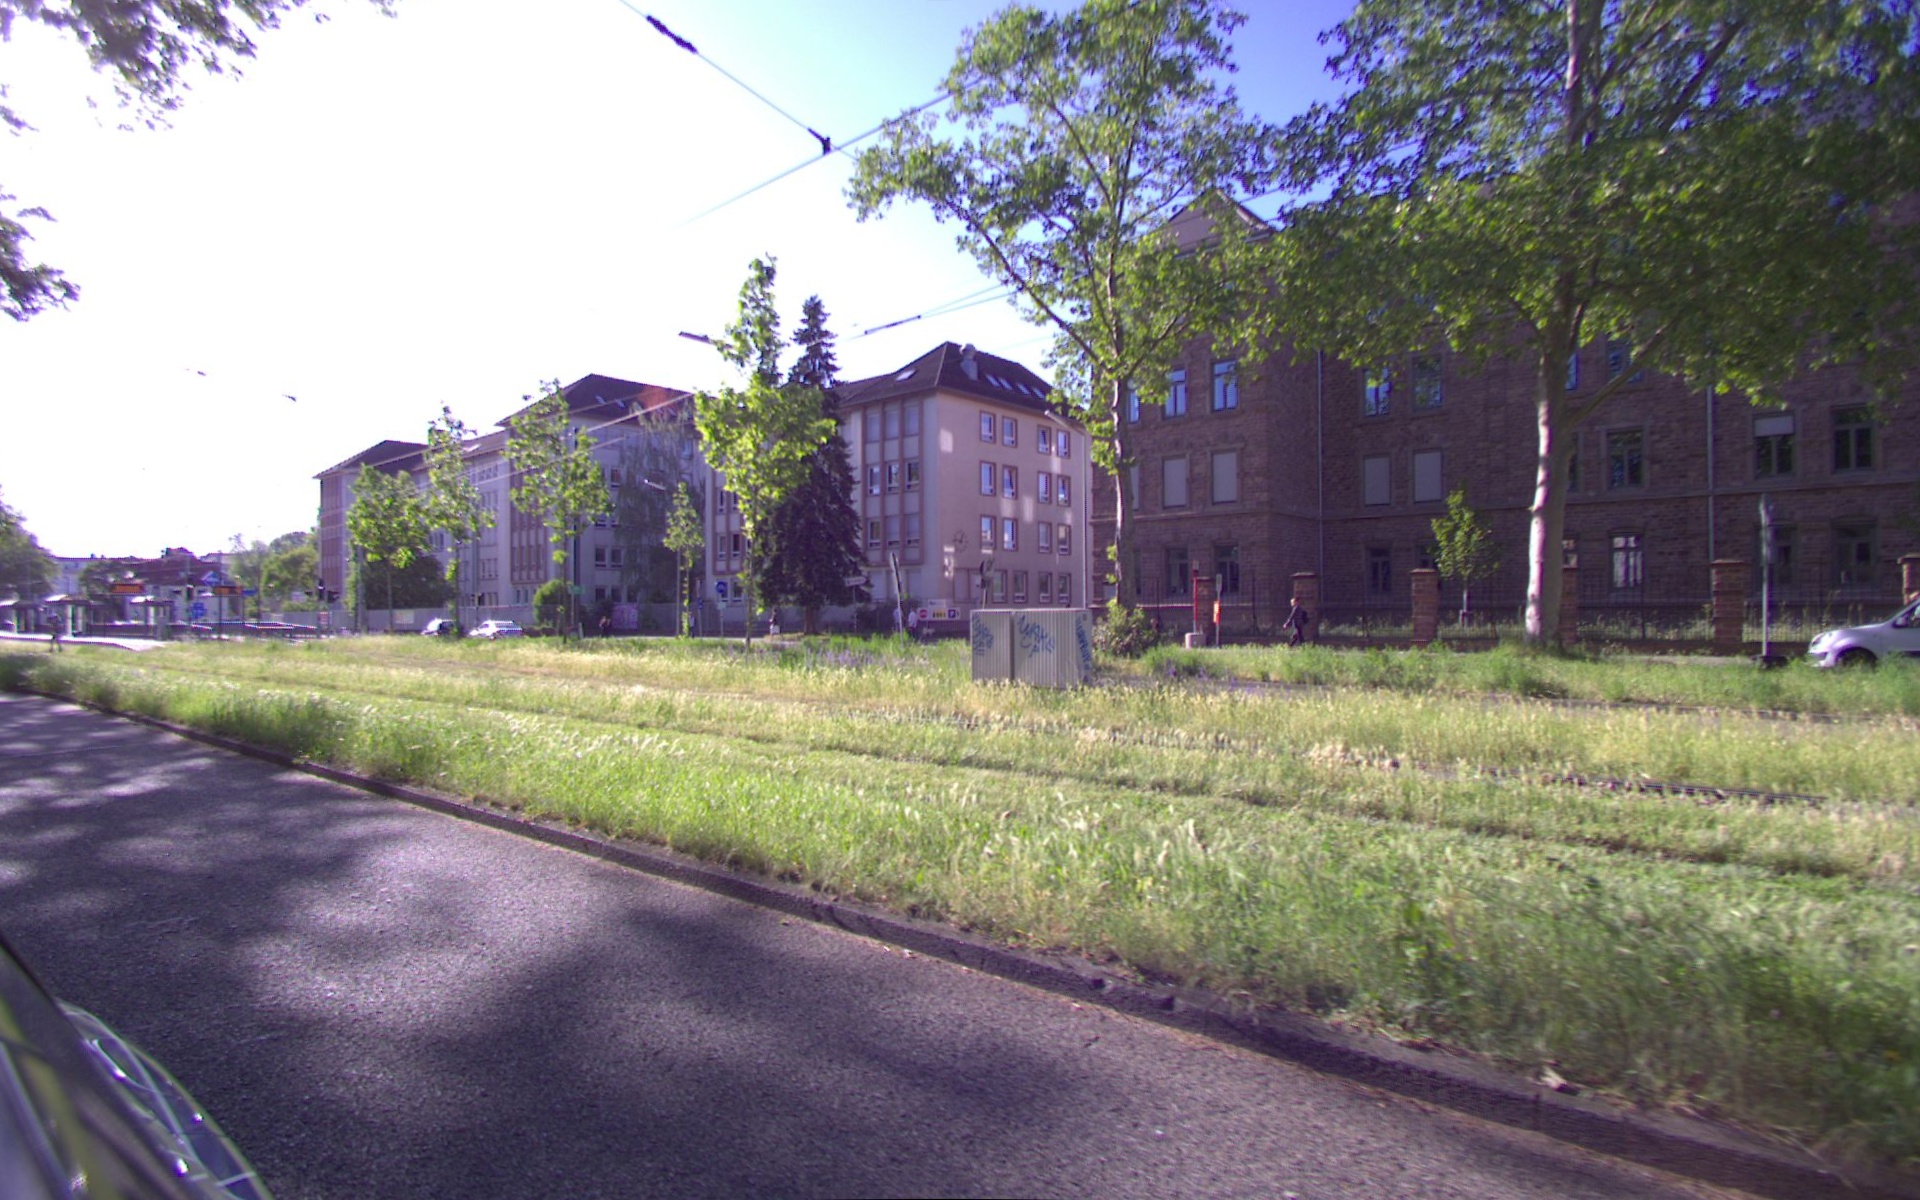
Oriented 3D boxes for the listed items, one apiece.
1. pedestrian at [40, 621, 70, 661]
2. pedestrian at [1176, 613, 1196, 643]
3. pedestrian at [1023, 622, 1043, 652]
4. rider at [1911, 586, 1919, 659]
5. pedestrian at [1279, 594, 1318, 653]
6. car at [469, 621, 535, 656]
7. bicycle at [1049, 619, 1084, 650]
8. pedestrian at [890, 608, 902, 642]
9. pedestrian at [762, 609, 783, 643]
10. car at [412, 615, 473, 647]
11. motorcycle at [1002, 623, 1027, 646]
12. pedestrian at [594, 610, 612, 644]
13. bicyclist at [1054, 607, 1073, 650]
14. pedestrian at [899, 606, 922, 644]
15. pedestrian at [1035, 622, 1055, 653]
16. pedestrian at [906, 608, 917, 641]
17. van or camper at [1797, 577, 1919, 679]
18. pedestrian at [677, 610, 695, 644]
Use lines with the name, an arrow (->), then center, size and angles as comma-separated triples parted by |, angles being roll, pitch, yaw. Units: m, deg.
pedestrian -> -40.477, 1.826, 45.247 | 0.730, 1.749, 0.942 | -2, -2, 43
pedestrian -> 8.399, 1.025, 37.680 | 0.586, 1.108, 0.440 | -2, -2, 37
pedestrian -> 2.677, 1.355, 37.178 | 0.478, 1.108, 0.580 | -2, -2, 39
rider -> 22.365, 0.510, 23.238 | 0.686, 1.657, 0.720 | -2, -2, 41
pedestrian -> 11.191, 0.768, 33.454 | 0.941, 1.914, 0.891 | -2, -2, 42
car -> -23.342, 1.933, 51.525 | 1.744, 1.634, 4.480 | 0, -1, -43
bicycle -> 3.798, 1.241, 36.185 | 1.172, 1.076, 0.458 | -2, -1, 32
pedestrian -> -3.276, 1.295, 51.920 | 0.371, 1.708, 0.449 | 0, -1, -43
pedestrian -> -9.671, 1.351, 52.257 | 0.819, 1.708, 0.677 | -1, -1, 22
car -> -29.929, 1.772, 58.456 | 4.151, 1.720, 1.971 | -2, -1, 45
motorcycle -> 2.351, 1.494, 43.808 | 1.043, 0.953, 0.331 | -1, -1, 37
pedestrian -> -21.488, 1.594, 60.854 | 0.860, 2.029, 0.656 | -2, -1, 40
bicyclist -> 3.716, 1.022, 36.239 | 0.501, 1.510, 0.450 | -2, -2, 31
pedestrian -> -2.296, 1.158, 46.758 | 0.875, 1.708, 0.679 | -1, -1, 13
pedestrian -> 3.094, 1.356, 36.751 | 0.586, 1.108, 0.439 | -2, -2, 36
pedestrian -> -2.497, 1.250, 52.123 | 0.371, 1.708, 0.449 | 0, -1, -43
van or camper -> 18.051, 0.507, 18.276 | 4.427, 1.801, 1.974 | -1, -2, 39
pedestrian -> -14.904, 1.474, 55.060 | 0.572, 1.851, 0.686 | -2, -1, 40
